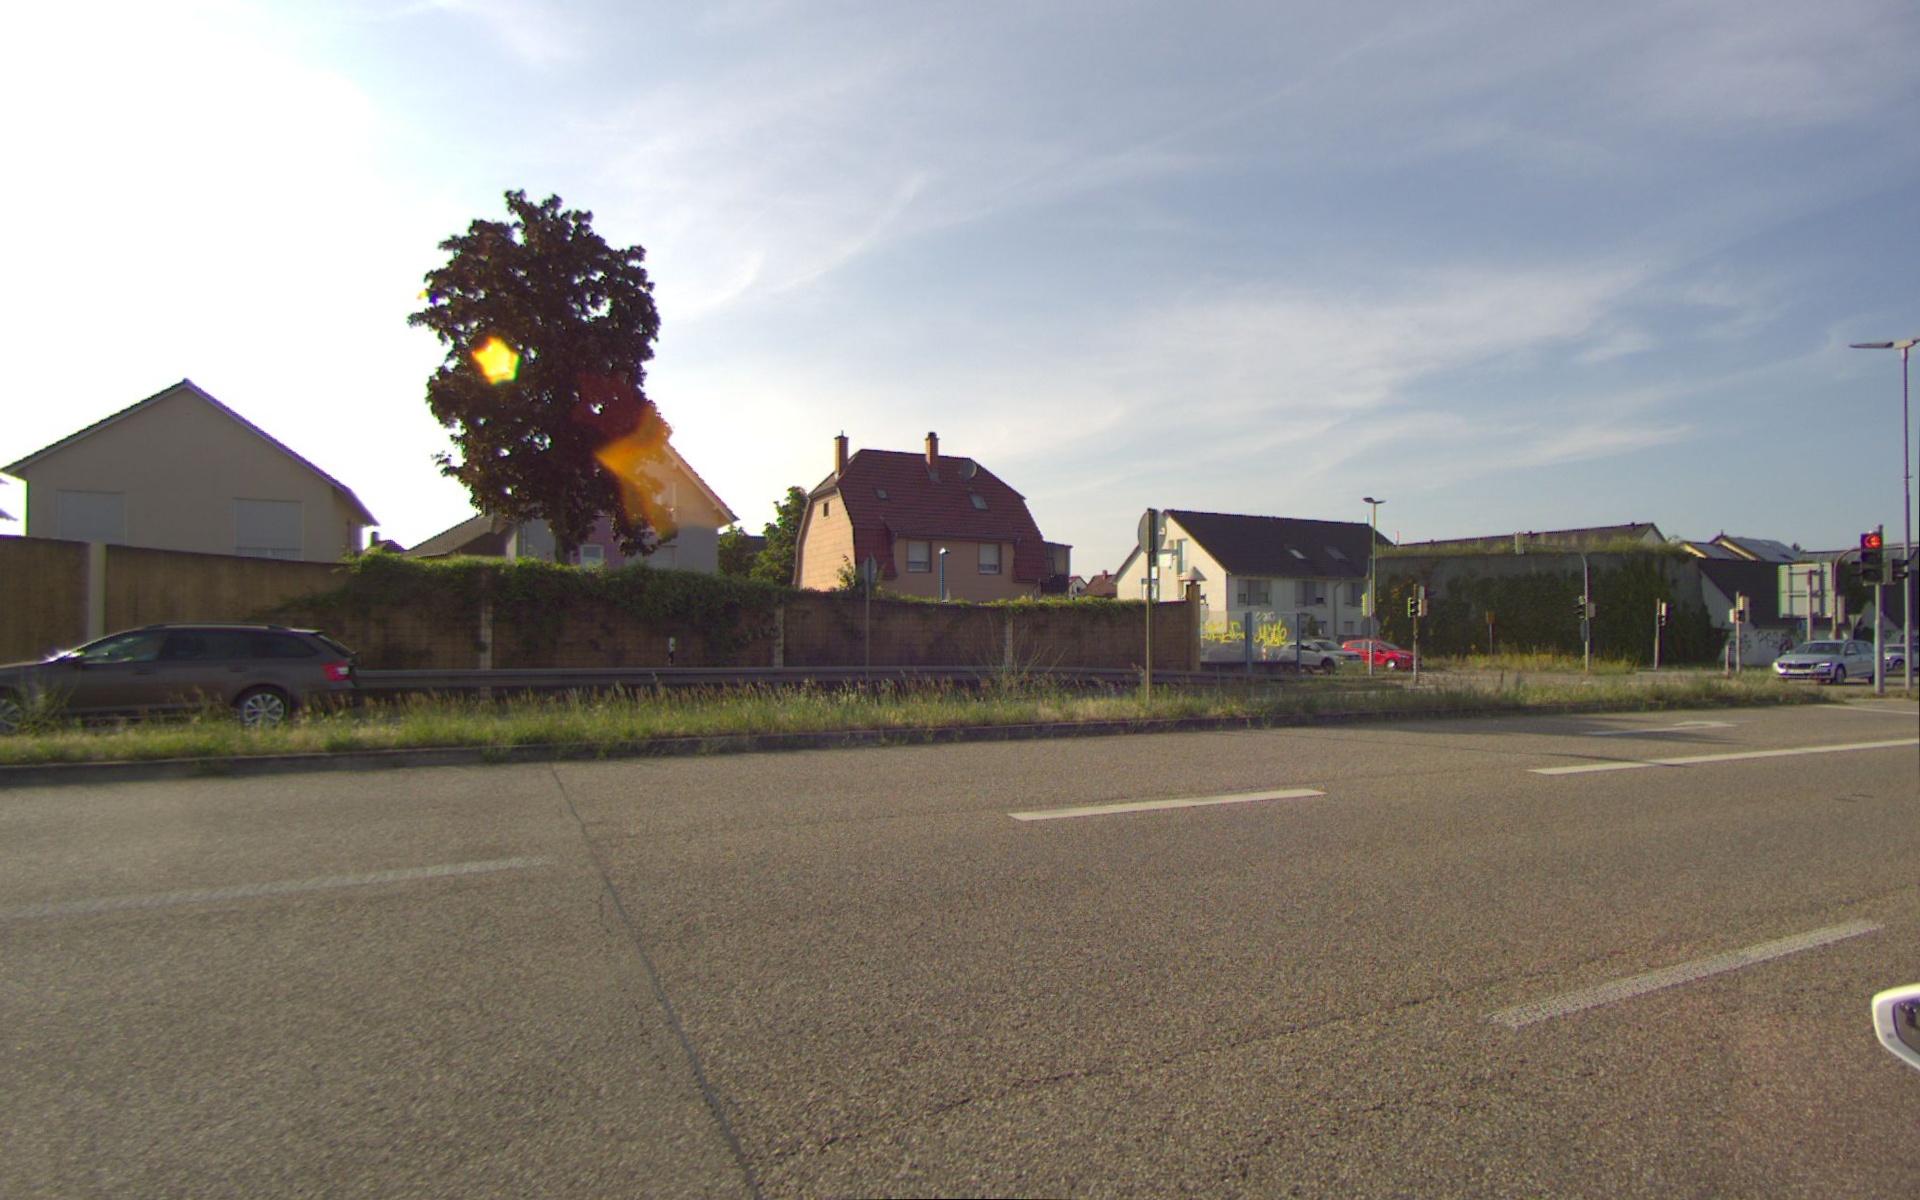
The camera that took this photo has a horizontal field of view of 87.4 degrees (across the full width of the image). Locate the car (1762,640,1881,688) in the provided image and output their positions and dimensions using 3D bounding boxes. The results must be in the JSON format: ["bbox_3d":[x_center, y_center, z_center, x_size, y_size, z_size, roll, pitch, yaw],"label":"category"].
[{"bbox_3d":[29.436,2.140,34.290,4.306,1.456,1.775,1,0,-30],"label":"car"}]

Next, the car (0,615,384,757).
[{"bbox_3d":[-10.507,1.087,13.526,4.596,1.650,1.717,1,0,-26],"label":"car"}]

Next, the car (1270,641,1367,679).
[{"bbox_3d":[16.211,2.682,45.609,1.739,1.477,3.967,1,0,-30],"label":"car"}]

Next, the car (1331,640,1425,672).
[{"bbox_3d":[19.946,2.635,48.075,1.398,1.258,3.957,1,0,-37],"label":"car"}]
